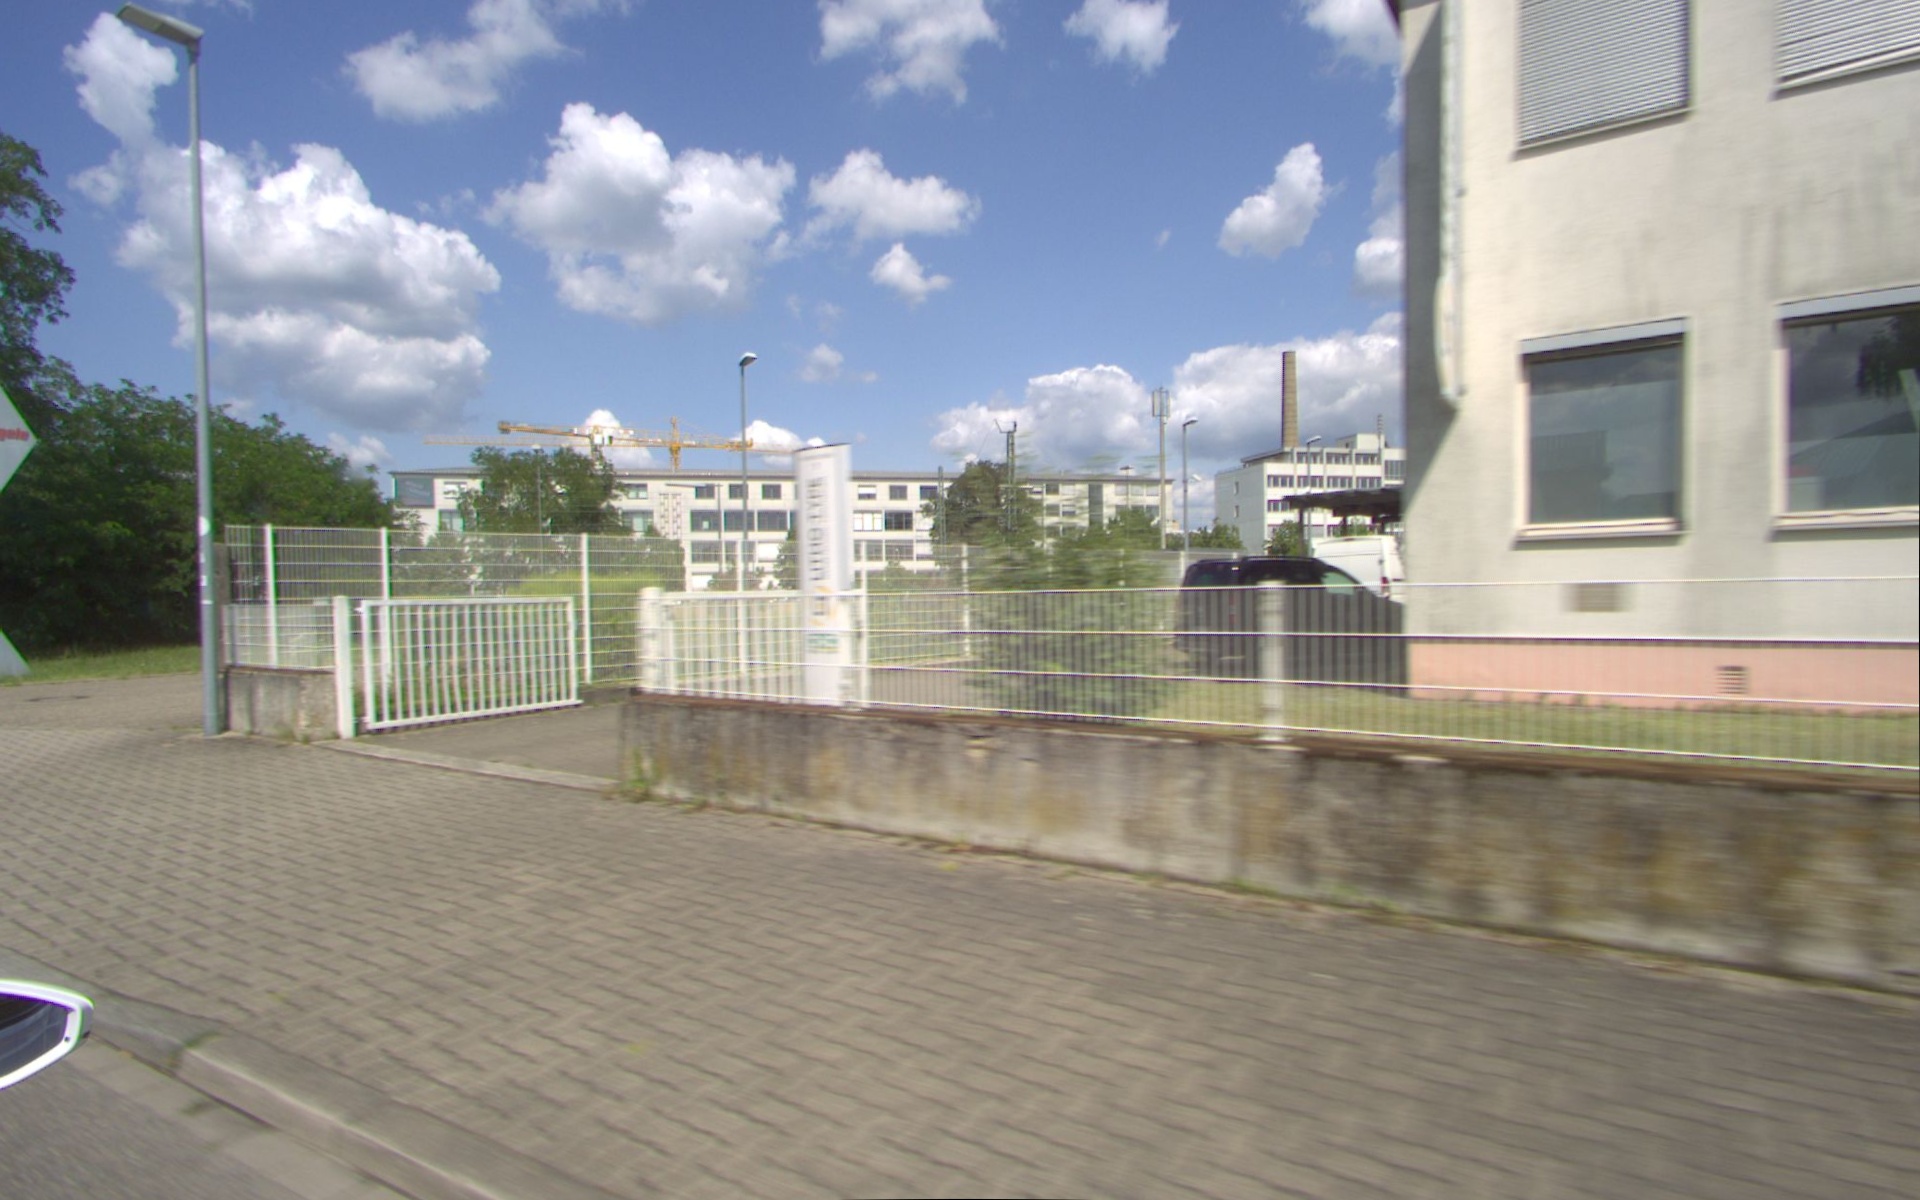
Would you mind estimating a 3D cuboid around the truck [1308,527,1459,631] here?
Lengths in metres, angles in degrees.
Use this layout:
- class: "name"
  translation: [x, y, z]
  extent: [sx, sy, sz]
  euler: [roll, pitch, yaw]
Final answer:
- class: "truck"
  translation: [11.049, -0.554, 25.957]
  extent: [4.697, 2.458, 1.980]
  euler: [-2, 2, -45]

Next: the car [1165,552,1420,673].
- class: "car"
  translation: [5.684, 0.169, 17.131]
  extent: [3.934, 1.856, 1.797]
  euler: [-1, 0, -23]
